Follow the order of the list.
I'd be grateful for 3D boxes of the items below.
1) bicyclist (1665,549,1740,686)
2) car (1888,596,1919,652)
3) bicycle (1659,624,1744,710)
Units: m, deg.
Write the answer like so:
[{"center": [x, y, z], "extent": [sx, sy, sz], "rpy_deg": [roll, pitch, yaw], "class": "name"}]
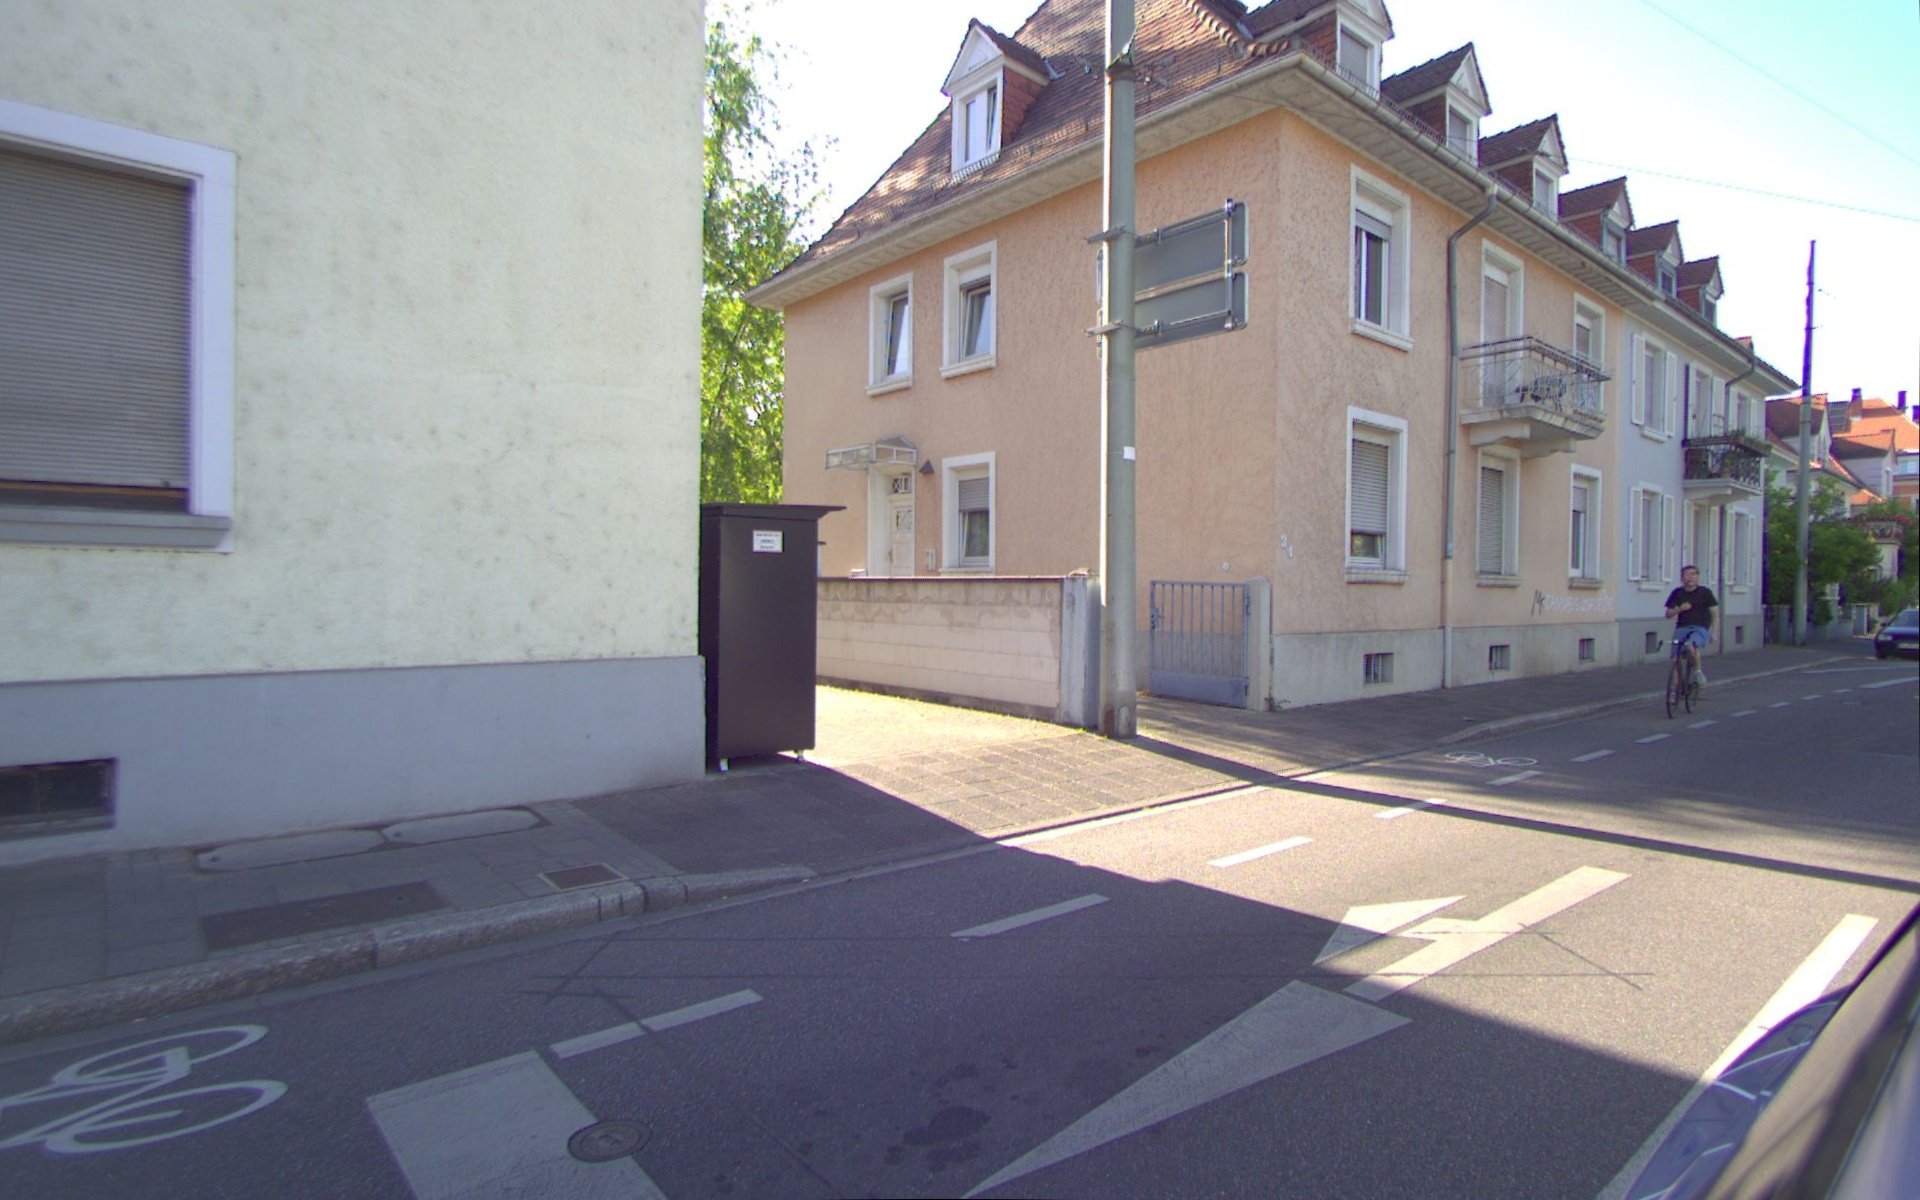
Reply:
[{"center": [9.879, 0.214, 13.458], "extent": [1.065, 1.752, 0.561], "rpy_deg": [0, 0, -40], "class": "bicyclist"}, {"center": [26.712, 0.627, 27.390], "extent": [4.347, 1.425, 1.866], "rpy_deg": [0, 1, -41], "class": "car"}, {"center": [9.885, 0.862, 13.464], "extent": [1.727, 1.029, 0.533], "rpy_deg": [0, 1, -41], "class": "bicycle"}]
